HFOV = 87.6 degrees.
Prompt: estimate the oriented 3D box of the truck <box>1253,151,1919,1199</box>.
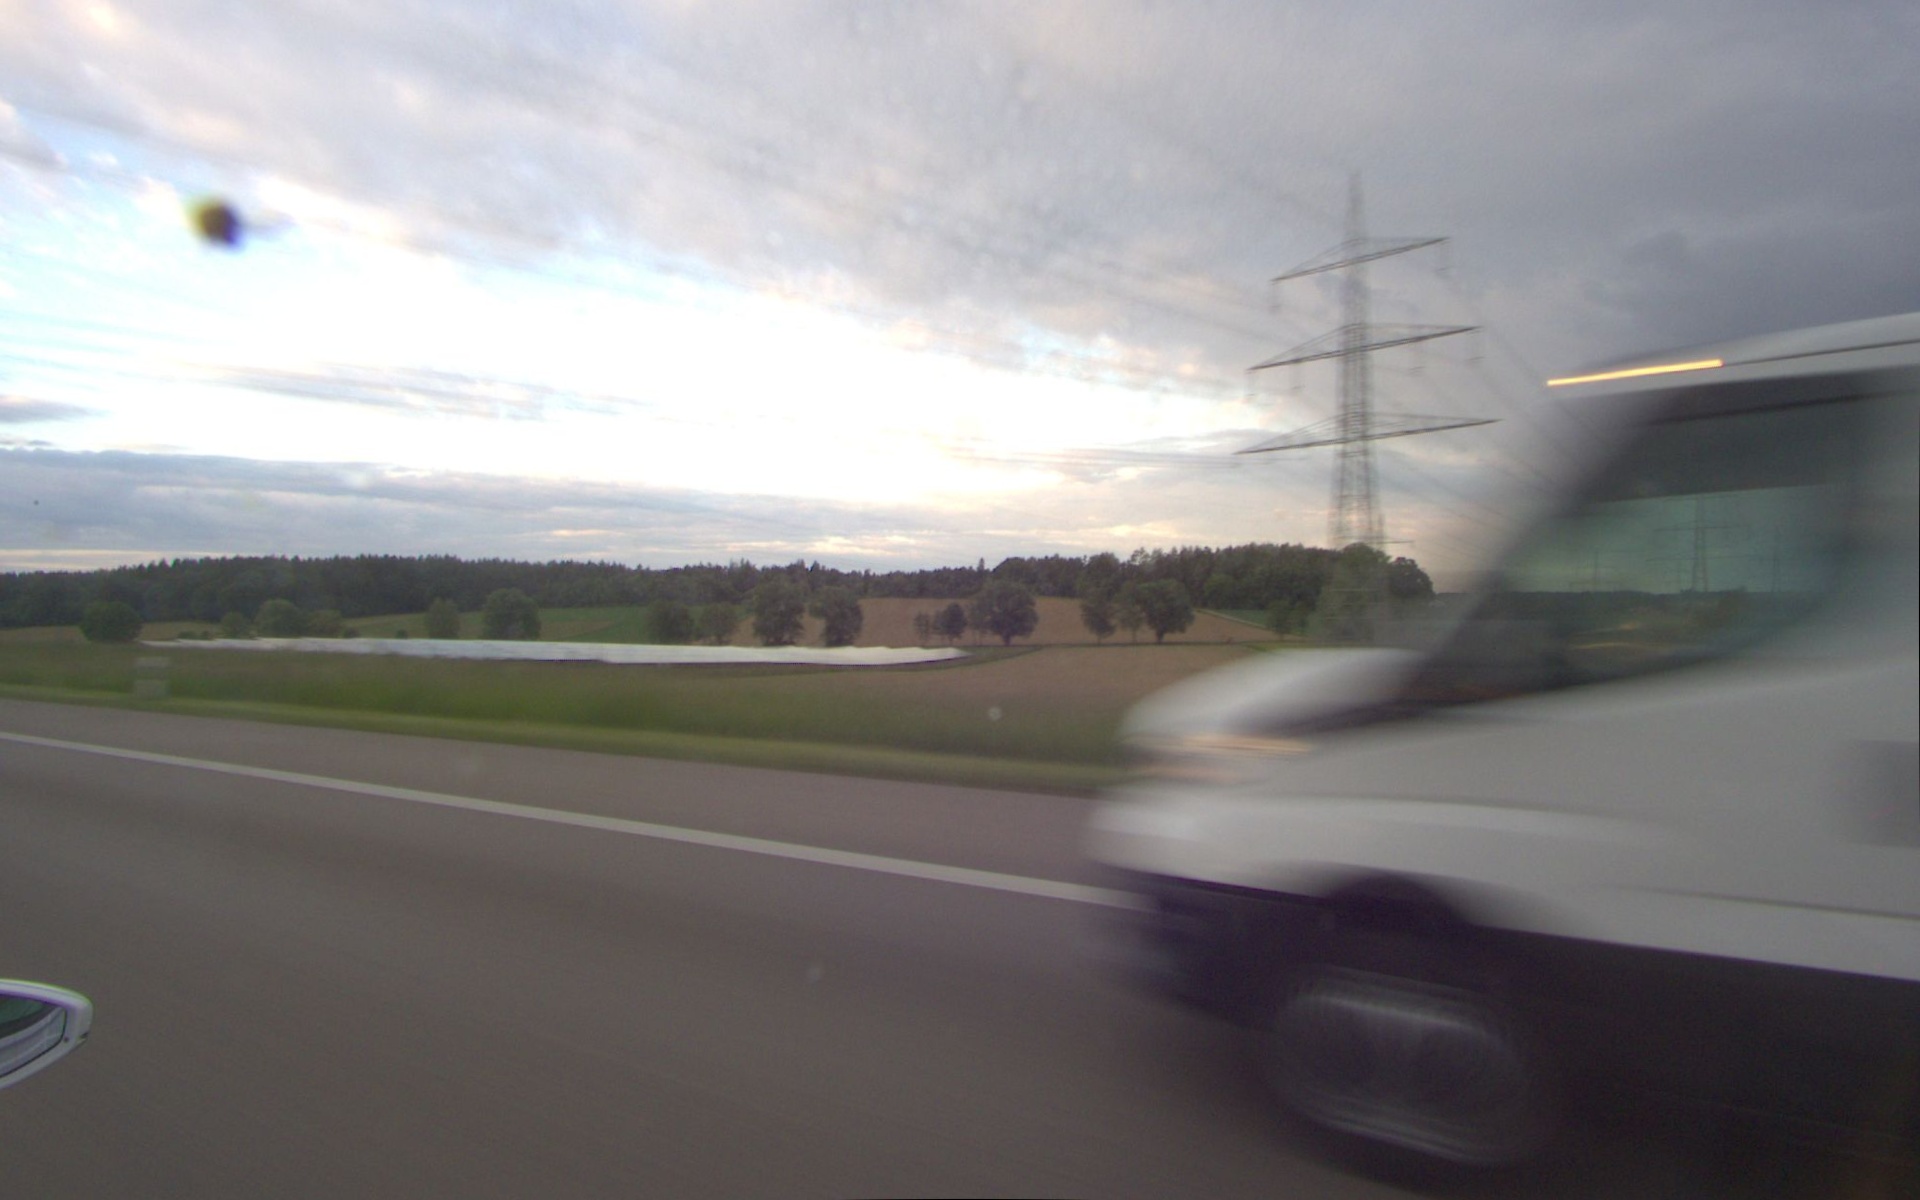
[{"bbox_3d":[4.566,0.309,1.616,7.584,2.390,2.169,-1,-2,31],"label":"truck"}]
